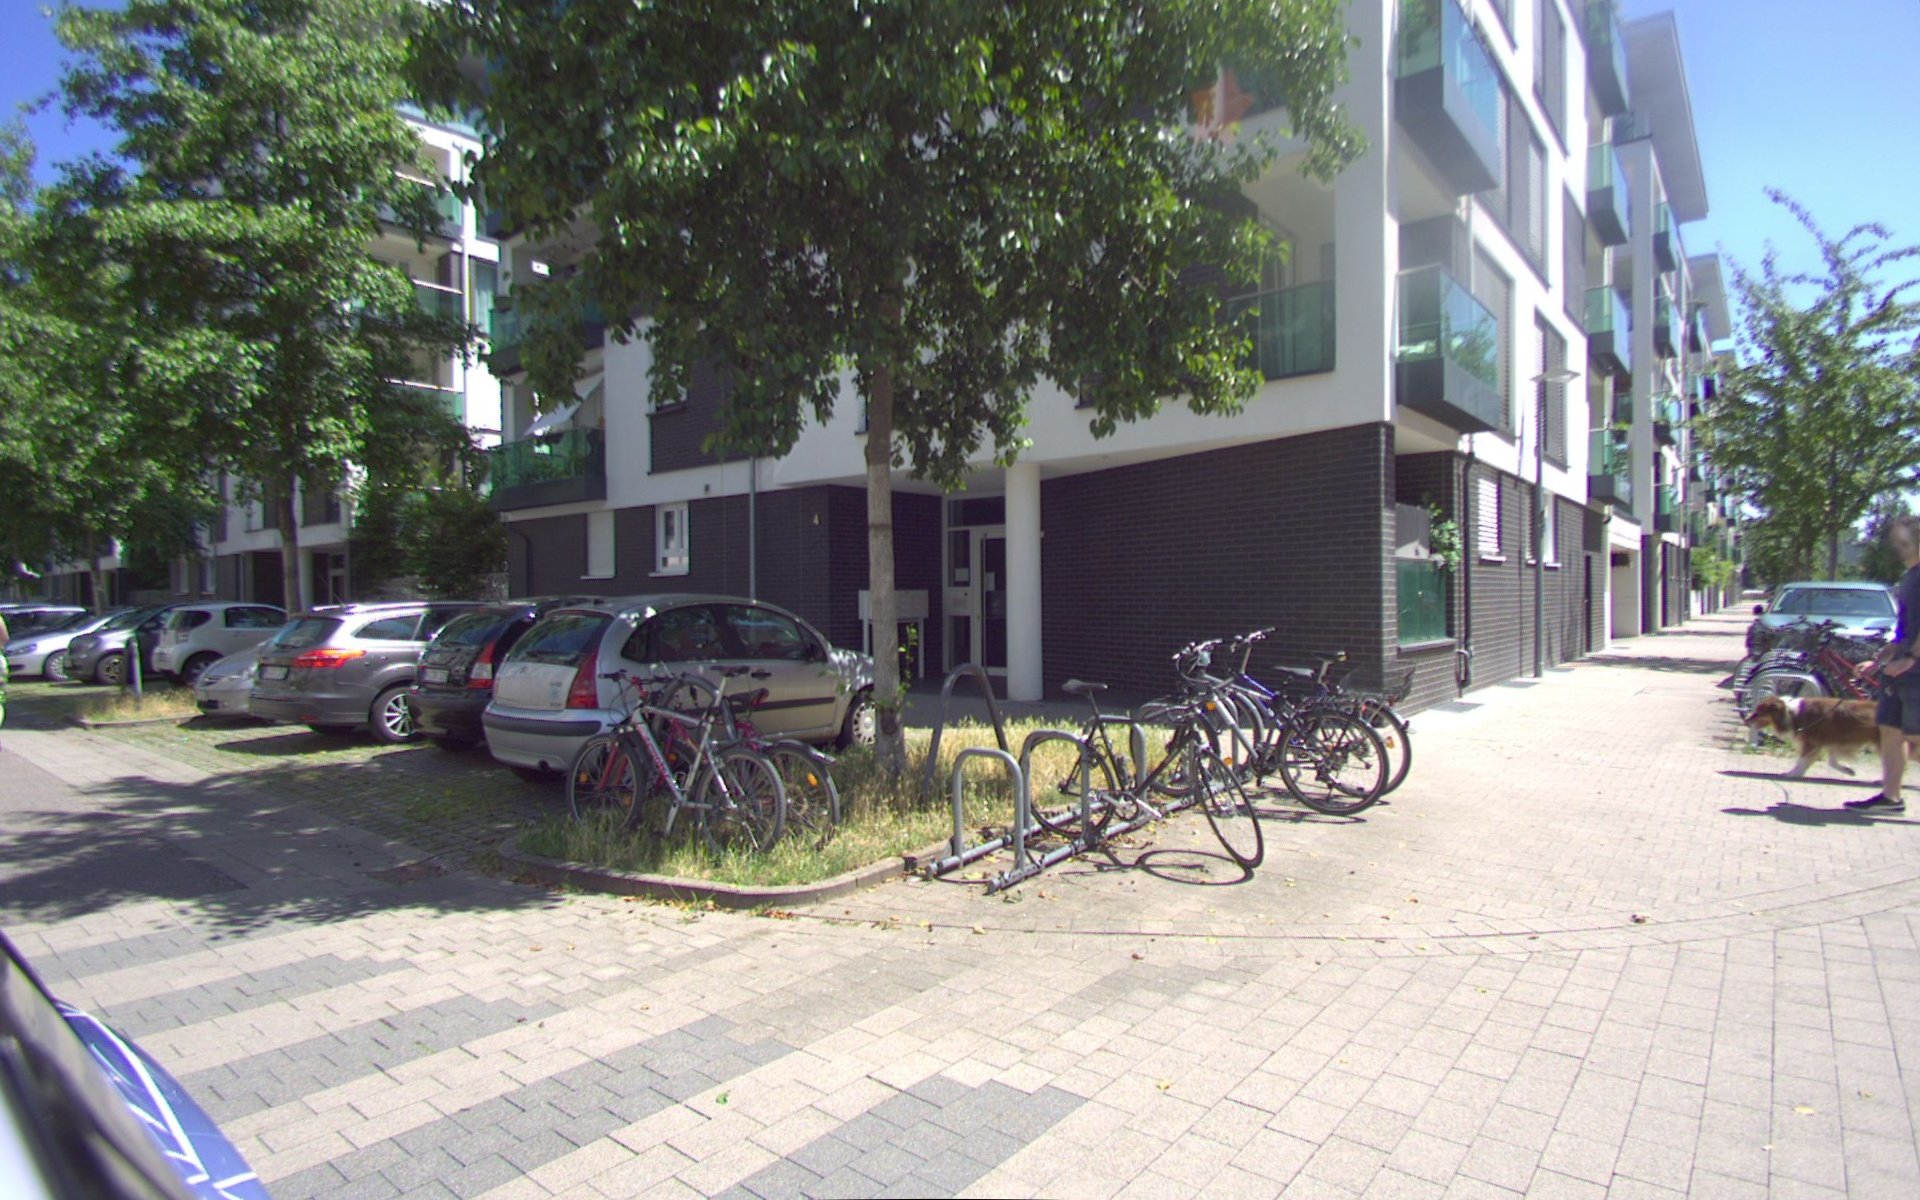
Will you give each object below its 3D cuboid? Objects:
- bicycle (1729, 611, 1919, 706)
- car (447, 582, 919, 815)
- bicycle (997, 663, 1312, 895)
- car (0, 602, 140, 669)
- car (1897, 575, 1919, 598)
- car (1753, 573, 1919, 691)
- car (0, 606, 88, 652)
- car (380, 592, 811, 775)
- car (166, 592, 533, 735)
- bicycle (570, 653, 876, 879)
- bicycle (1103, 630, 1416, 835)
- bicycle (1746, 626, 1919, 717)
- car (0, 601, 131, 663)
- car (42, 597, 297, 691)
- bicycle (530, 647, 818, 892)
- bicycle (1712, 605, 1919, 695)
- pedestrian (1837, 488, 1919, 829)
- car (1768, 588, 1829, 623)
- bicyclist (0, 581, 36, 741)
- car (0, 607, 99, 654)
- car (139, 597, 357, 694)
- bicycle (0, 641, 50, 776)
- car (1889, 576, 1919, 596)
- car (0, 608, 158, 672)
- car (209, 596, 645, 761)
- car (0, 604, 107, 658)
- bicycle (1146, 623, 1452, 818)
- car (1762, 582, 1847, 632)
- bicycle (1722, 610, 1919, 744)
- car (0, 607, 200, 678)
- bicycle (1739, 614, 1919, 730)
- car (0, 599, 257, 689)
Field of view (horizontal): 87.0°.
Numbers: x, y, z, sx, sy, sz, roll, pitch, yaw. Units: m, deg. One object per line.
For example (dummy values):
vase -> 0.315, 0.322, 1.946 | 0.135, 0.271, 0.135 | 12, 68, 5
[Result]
bicycle -> 10.448, 0.660, 11.851 | 2.224, 1.043, 0.703 | -1, -1, 33
car -> -2.249, 0.659, 8.905 | 1.830, 1.532, 3.594 | -1, 1, 39
bicycle -> 1.024, 0.907, 5.617 | 1.676, 0.998, 0.527 | 0, 2, 42
car -> -25.412, 0.961, 28.014 | 1.917, 1.663, 3.946 | -1, 1, 41
car -> 67.600, -0.956, 71.268 | 1.998, 1.519, 3.948 | -1, 0, 38
car -> 13.161, 0.393, 14.948 | 1.973, 1.527, 3.742 | 0, 0, 43
car -> -34.478, 1.083, 36.562 | 1.922, 1.529, 4.211 | -1, 2, 39
car -> -3.684, 0.730, 10.736 | 1.799, 1.566, 3.945 | -1, -1, 41
car -> -8.231, 0.742, 13.922 | 1.870, 1.565, 3.899 | -1, 1, 39
bicycle -> -1.438, 0.906, 5.969 | 1.969, 1.136, 0.431 | -1, -1, 28
bicycle -> 1.924, 0.786, 6.618 | 1.834, 1.144, 0.703 | -1, -1, 34
bicycle -> 9.700, 0.748, 10.845 | 2.005, 0.915, 0.530 | -1, -1, 38
car -> -27.190, 0.919, 29.826 | 1.931, 1.641, 3.948 | -1, 1, 39
car -> -15.926, 0.811, 20.557 | 1.816, 1.597, 3.677 | -1, 2, 34
bicycle -> -1.644, 0.879, 5.675 | 1.812, 1.189, 0.368 | -1, -1, 28
bicycle -> 11.389, 0.618, 13.338 | 0.800, 1.100, 2.275 | 0, -1, -45
pedestrian -> 6.187, 0.344, 6.245 | 1.129, 2.029, 0.998 | -1, -1, 43
car -> 37.303, 0.228, 45.115 | 1.998, 1.519, 3.948 | -1, 0, 38
bicyclist -> -9.311, 0.568, 9.422 | 0.799, 1.470, 0.944 | -1, 0, 39
car -> -32.684, 1.084, 34.895 | 1.791, 1.487, 4.274 | -1, 1, 39
car -> -13.311, 0.790, 19.013 | 1.846, 1.511, 2.905 | -1, 2, 38
bicycle -> -9.313, 0.988, 9.466 | 2.038, 1.137, 0.889 | -1, 0, 39
car -> 74.926, -1.086, 79.955 | 1.998, 1.519, 3.948 | -1, 0, 38
car -> -23.493, 1.009, 26.179 | 1.772, 1.456, 3.940 | -1, 2, 36
car -> -6.075, 0.745, 11.989 | 1.955, 1.497, 4.144 | 1, 2, 36
car -> -30.760, 1.018, 33.208 | 1.882, 1.603, 3.947 | -1, 1, 40
bicycle -> 2.350, 0.767, 7.176 | 1.922, 1.182, 0.740 | -1, -1, 42
car -> 27.365, 0.221, 32.896 | 1.998, 1.519, 3.948 | -1, 0, 38
bicycle -> 7.932, 0.641, 8.753 | 2.098, 1.100, 0.702 | -1, -1, 36
car -> -21.361, 0.991, 24.881 | 1.896, 1.433, 3.947 | -1, 1, 40
bicycle -> 8.823, 0.675, 9.814 | 1.991, 1.077, 0.485 | -1, -1, 38
car -> -18.025, 0.908, 21.801 | 1.997, 1.723, 4.320 | -1, -2, 37
